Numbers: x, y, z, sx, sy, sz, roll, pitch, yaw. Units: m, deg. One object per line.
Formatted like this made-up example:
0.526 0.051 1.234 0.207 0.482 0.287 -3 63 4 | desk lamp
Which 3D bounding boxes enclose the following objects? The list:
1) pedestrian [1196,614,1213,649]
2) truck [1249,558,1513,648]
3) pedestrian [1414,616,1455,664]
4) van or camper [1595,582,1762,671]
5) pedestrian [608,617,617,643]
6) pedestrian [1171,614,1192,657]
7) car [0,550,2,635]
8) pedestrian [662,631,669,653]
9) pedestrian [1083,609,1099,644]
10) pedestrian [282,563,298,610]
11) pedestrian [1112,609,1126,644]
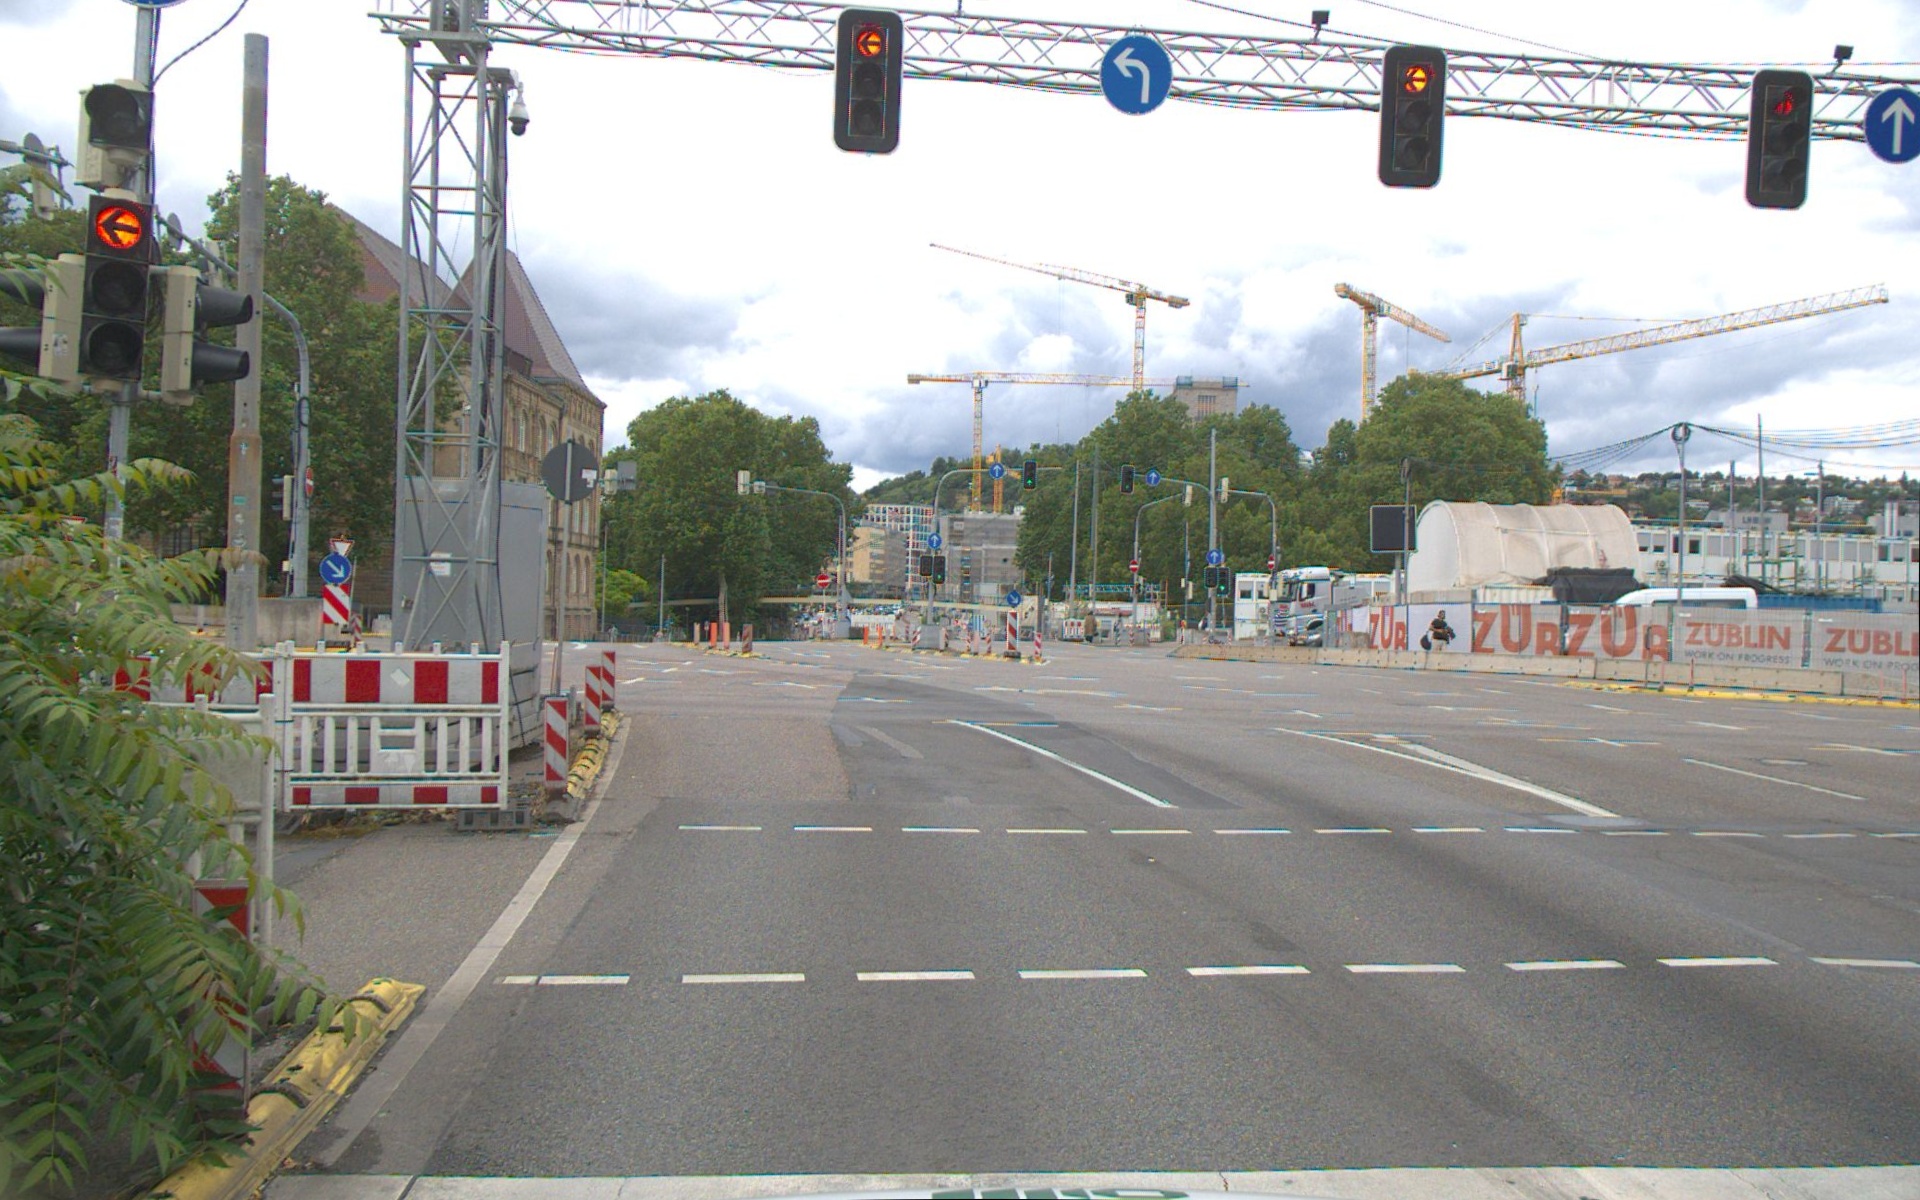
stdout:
12.281 1.591 83.087 0.609 1.718 0.710 2 0 28 | pedestrian
20.997 0.171 82.318 12.837 4.111 3.927 1 0 -21 | truck
14.077 1.184 49.094 0.784 1.402 0.900 2 0 -19 | pedestrian
20.732 0.744 47.909 4.123 2.398 2.001 1 0 14 | van or camper
-27.011 2.344 128.634 0.513 2.049 0.566 1 0 -1 | pedestrian
9.065 1.465 67.687 0.714 1.718 0.677 2 0 -1 | pedestrian
-19.701 -0.125 29.343 4.239 1.705 1.993 2 0 -14 | car
-27.784 3.981 156.239 0.513 2.049 0.566 1 0 -1 | pedestrian
6.451 1.303 81.569 0.714 1.718 0.677 2 0 -1 | pedestrian
-29.512 -0.608 72.849 0.523 2.049 0.421 2 0 -44 | pedestrian
7.914 1.310 82.322 0.555 1.718 0.471 2 0 -1 | pedestrian
